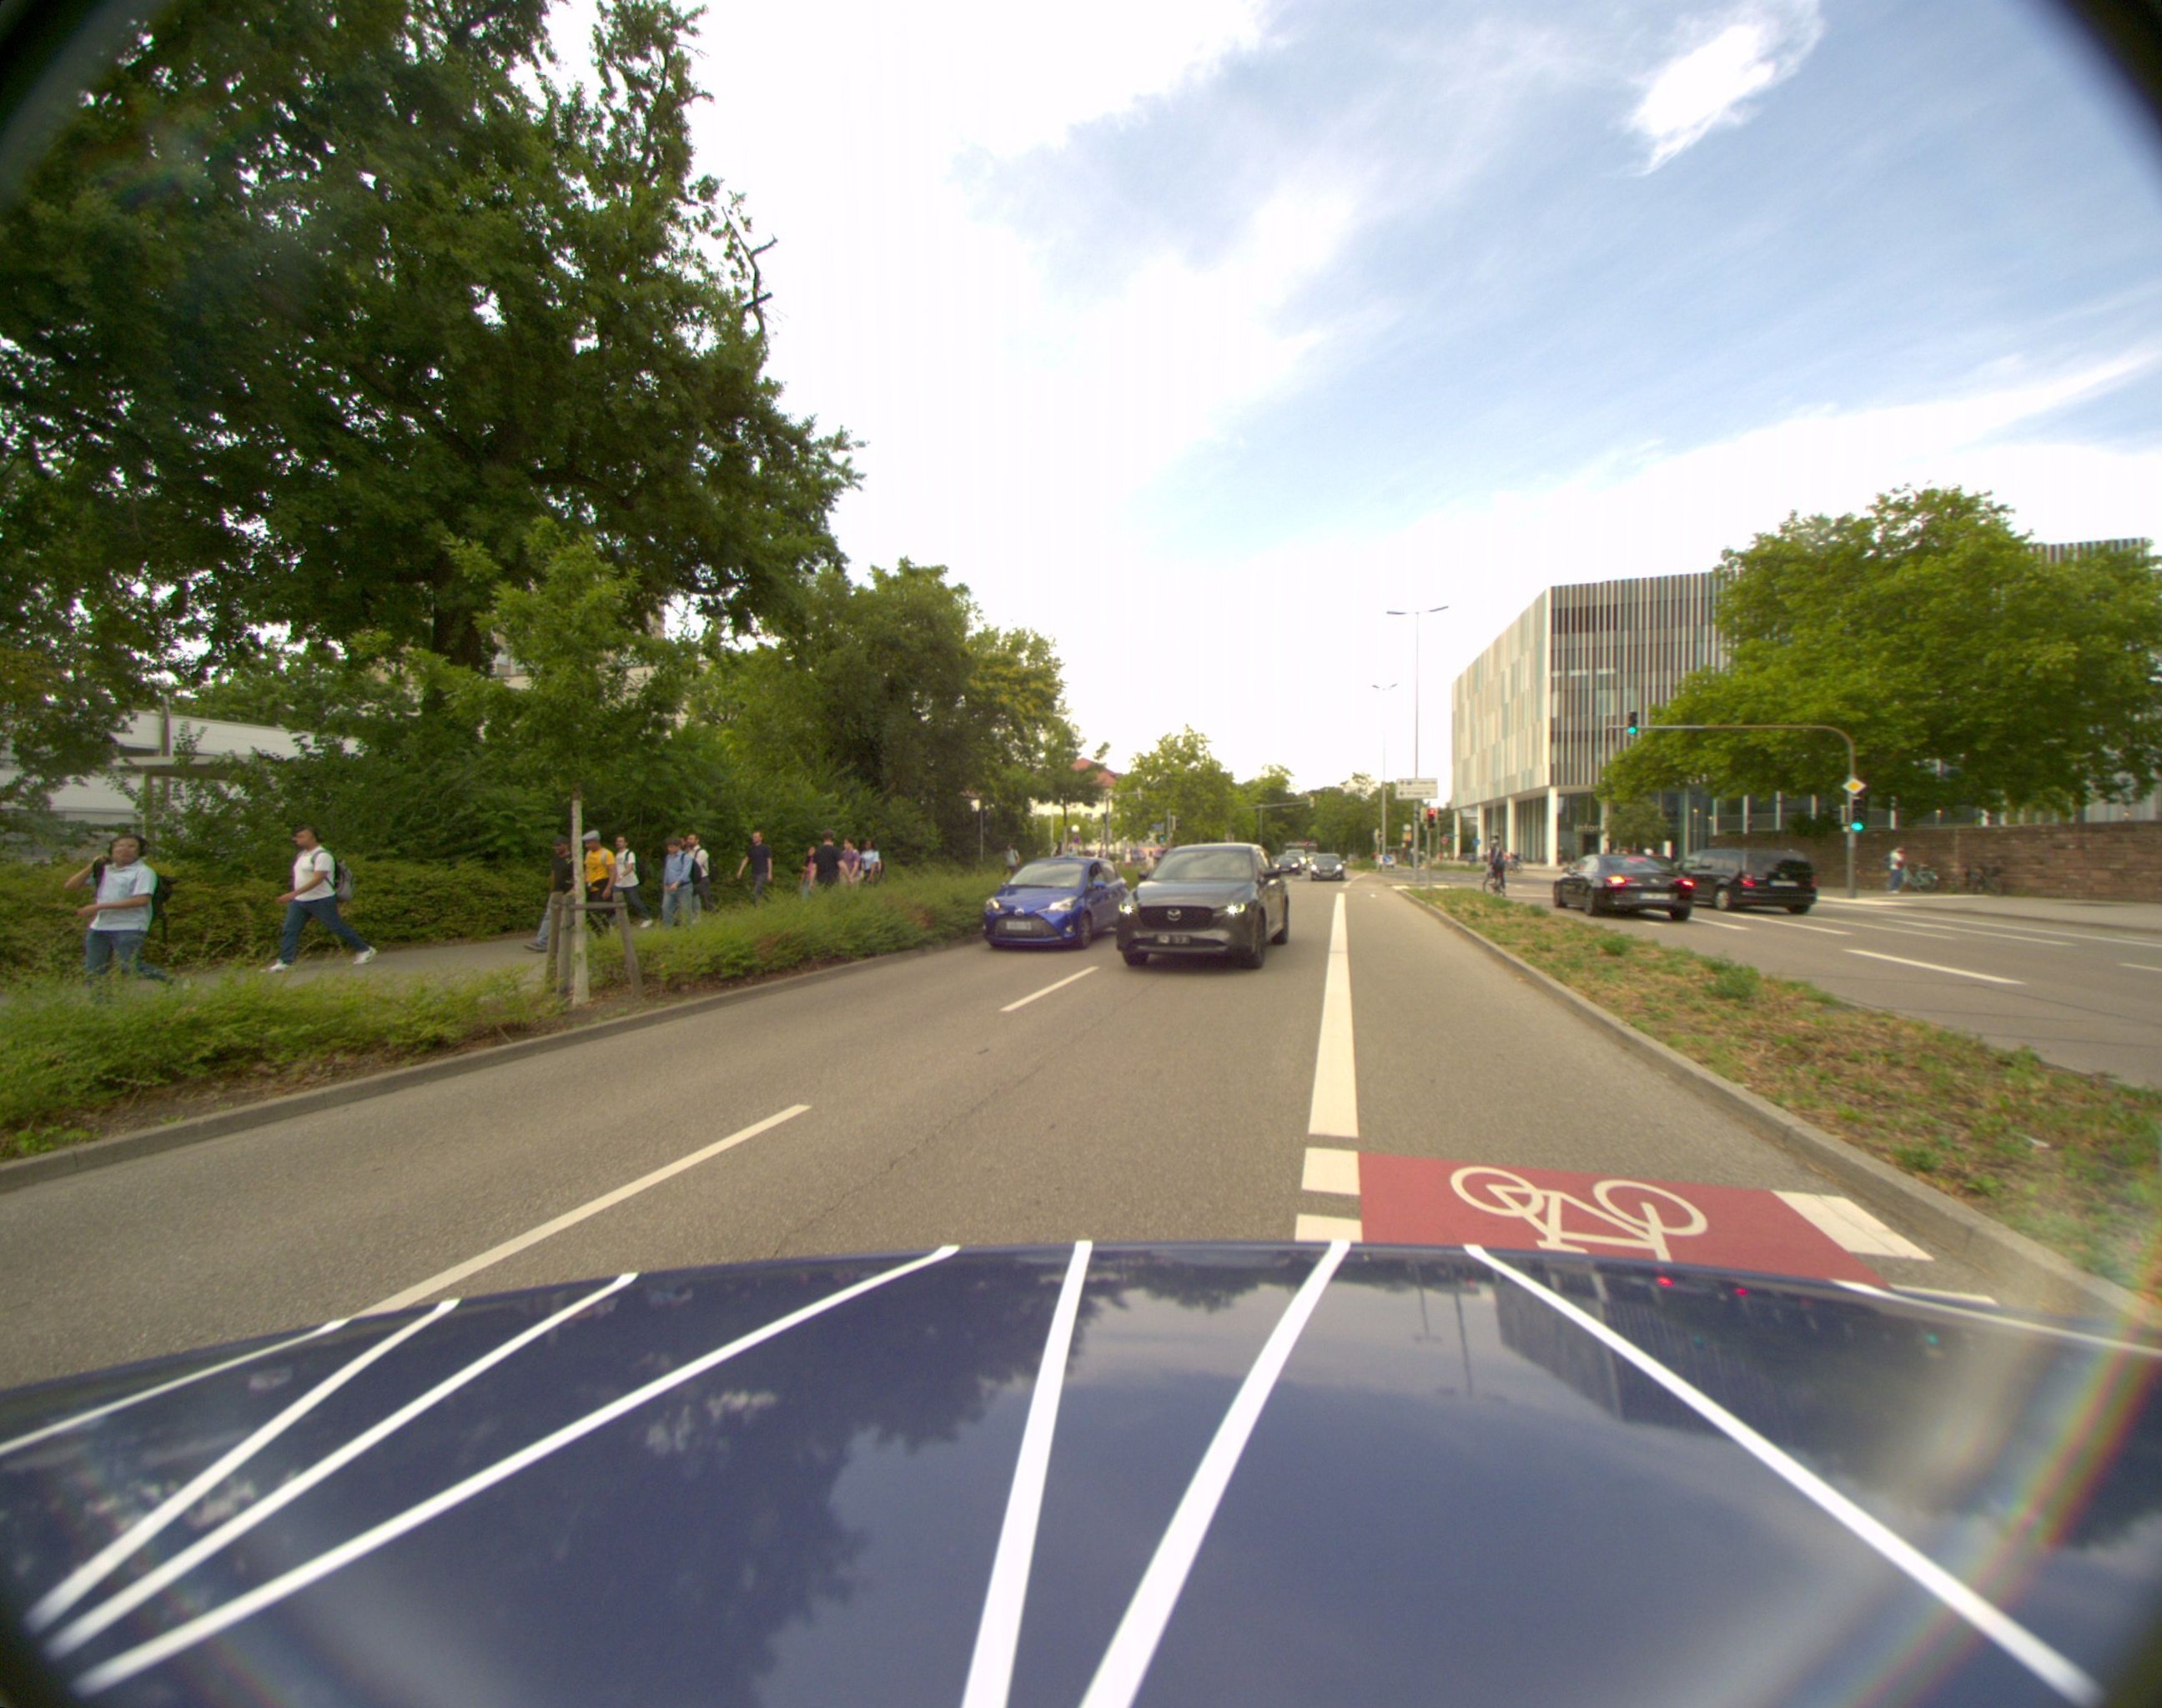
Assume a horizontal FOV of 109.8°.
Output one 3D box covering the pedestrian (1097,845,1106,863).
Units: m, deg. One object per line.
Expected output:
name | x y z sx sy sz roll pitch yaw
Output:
pedestrian | 2.269 -0.031 83.529 0.687 1.951 0.601 -2 1 -24

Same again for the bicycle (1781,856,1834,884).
bicycle | 30.543 0.647 31.986 0.578 1.119 2.167 -3 0 14

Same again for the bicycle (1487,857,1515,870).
bicycle | 33.940 0.726 61.393 1.821 0.983 0.729 -2 1 2

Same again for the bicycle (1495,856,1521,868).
bicycle | 33.406 0.627 59.434 1.690 0.983 0.571 0 1 2

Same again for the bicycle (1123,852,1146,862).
bicycle | 6.095 0.340 86.018 2.469 1.136 0.718 0 1 17

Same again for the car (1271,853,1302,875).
car | 14.558 0.663 53.971 1.659 1.455 4.003 -2 0 10

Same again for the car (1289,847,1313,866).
car | 20.783 0.185 71.821 1.996 1.761 4.005 0 1 19

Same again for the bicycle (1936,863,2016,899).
bicycle | 29.076 0.853 24.729 0.549 1.052 1.982 -3 0 12

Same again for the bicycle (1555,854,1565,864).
bicycle | 47.762 0.529 75.717 1.601 0.932 0.393 -2 0 -41

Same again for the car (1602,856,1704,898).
car | 21.937 0.828 29.334 1.804 1.480 4.294 0 0 17

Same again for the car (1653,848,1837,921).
car | 17.258 0.699 20.063 1.804 1.656 4.304 2 1 13

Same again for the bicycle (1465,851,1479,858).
bicycle | 56.616 0.077 110.124 1.701 1.017 0.435 -2 0 11

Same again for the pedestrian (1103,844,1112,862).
pedestrian | 2.931 -0.146 83.876 0.687 1.951 0.601 -2 1 -24

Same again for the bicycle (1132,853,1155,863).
bicycle | 7.193 0.453 87.532 2.469 1.136 0.718 0 1 17

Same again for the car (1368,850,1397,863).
car | 35.183 0.243 88.684 1.806 1.480 4.416 0 0 2

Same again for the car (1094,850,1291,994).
car | 1.877 0.772 11.191 1.901 1.639 4.652 0 0 21

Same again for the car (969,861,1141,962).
car | -0.298 0.892 13.644 1.700 1.485 3.838 0 0 21

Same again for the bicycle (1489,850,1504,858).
bicycle | 53.413 0.030 97.682 1.580 1.017 0.390 -2 0 11

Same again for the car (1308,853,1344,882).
car | 13.668 0.700 42.250 1.658 1.455 4.005 -2 0 21

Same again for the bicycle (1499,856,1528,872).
bicycle | 32.984 0.770 57.965 1.894 1.163 0.607 0 1 1

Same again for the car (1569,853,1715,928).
car | 12.668 0.726 17.468 1.803 1.480 4.413 0 0 24

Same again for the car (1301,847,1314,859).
car | 35.762 -0.219 119.719 1.863 1.871 4.005 0 1 18

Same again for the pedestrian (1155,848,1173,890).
pedestrian | 3.436 0.597 31.392 0.602 1.725 0.655 0 1 16

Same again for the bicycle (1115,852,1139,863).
bicycle | 5.003 0.397 82.955 2.469 1.136 0.718 0 1 17

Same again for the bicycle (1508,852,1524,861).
bicycle | 50.257 0.318 87.797 1.544 0.932 0.394 -2 0 11

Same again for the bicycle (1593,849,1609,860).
bicycle | 49.453 0.027 72.261 1.548 1.023 0.393 -2 0 -22

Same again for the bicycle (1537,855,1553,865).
bicycle | 47.520 0.594 77.787 1.612 0.932 0.393 -2 0 -18

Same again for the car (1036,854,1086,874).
car | -1.545 0.786 59.898 3.576 1.483 1.676 0 1 15

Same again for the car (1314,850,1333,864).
car | 27.063 0.323 84.873 1.659 1.455 4.004 -2 0 14

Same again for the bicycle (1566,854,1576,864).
bicycle | 48.318 0.520 74.857 1.601 0.932 0.393 -2 0 -41

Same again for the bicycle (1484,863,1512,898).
bicycle | 13.208 0.814 24.105 0.574 1.049 1.929 0 0 23
